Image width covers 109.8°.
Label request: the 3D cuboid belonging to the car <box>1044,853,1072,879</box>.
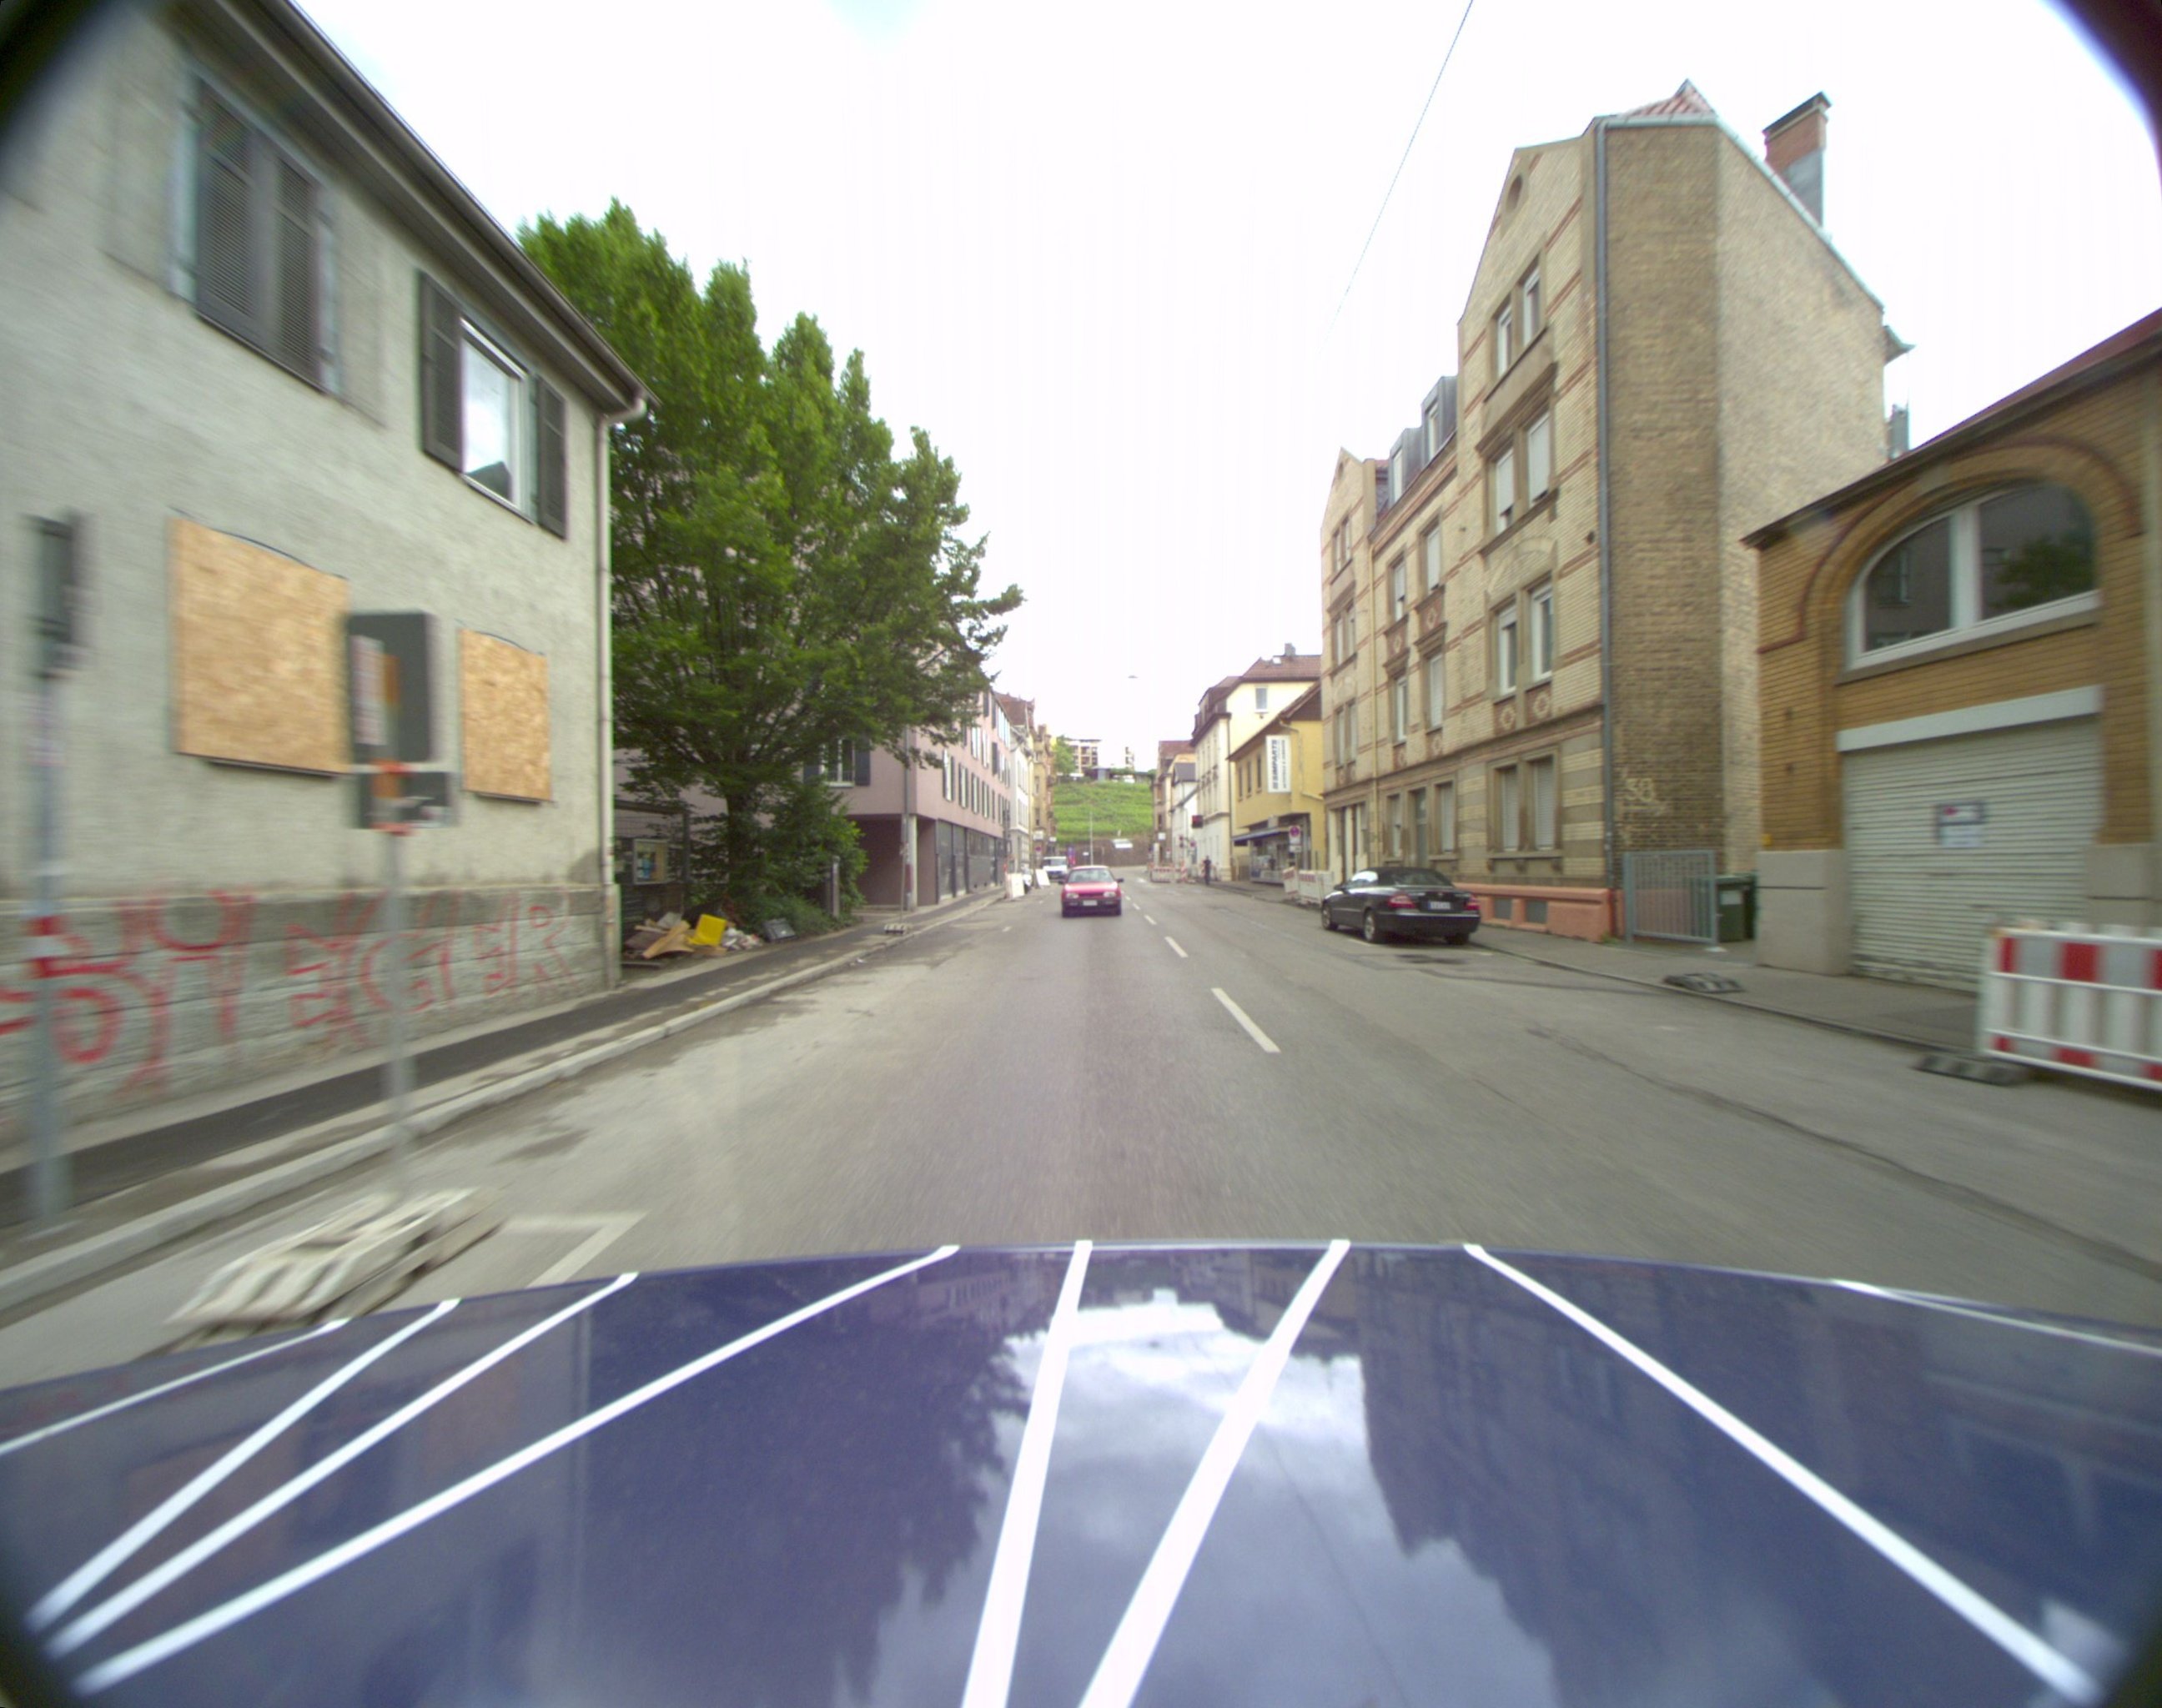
[{"bbox_3d":[-1.806,0.965,61.300,1.998,1.970,4.878,-1,0,0],"label":"car"}]

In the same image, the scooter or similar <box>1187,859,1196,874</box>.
[{"bbox_3d":[9.942,1.140,68.330,0.561,1.283,1.228,-2,1,1],"label":"scooter or similar"}]

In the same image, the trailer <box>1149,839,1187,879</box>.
[{"bbox_3d":[6.438,0.364,56.921,2.450,2.787,6.304,0,0,3],"label":"trailer"}]

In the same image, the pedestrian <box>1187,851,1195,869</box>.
[{"bbox_3d":[9.918,0.525,68.278,0.602,1.557,0.607,-2,1,0],"label":"pedestrian"}]

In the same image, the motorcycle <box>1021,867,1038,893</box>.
[{"bbox_3d":[-2.629,1.318,38.963,0.648,1.219,2.337,-2,0,1],"label":"motorcycle"}]

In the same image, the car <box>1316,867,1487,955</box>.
[{"bbox_3d":[6.002,0.984,14.806,1.582,1.374,4.355,1,0,2],"label":"car"}]

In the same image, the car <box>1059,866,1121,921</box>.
[{"bbox_3d":[0.341,1.085,22.352,1.626,1.387,4.001,-1,0,3],"label":"car"}]

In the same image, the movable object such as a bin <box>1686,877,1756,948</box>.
[{"bbox_3d":[10.076,0.902,11.978,0.504,1.043,0.667,-3,0,0],"label":"movable object such as a bin"}]

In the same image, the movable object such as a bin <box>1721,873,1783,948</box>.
[{"bbox_3d":[10.563,0.874,11.966,0.513,1.133,0.517,-1,0,-14],"label":"movable object such as a bin"}]
